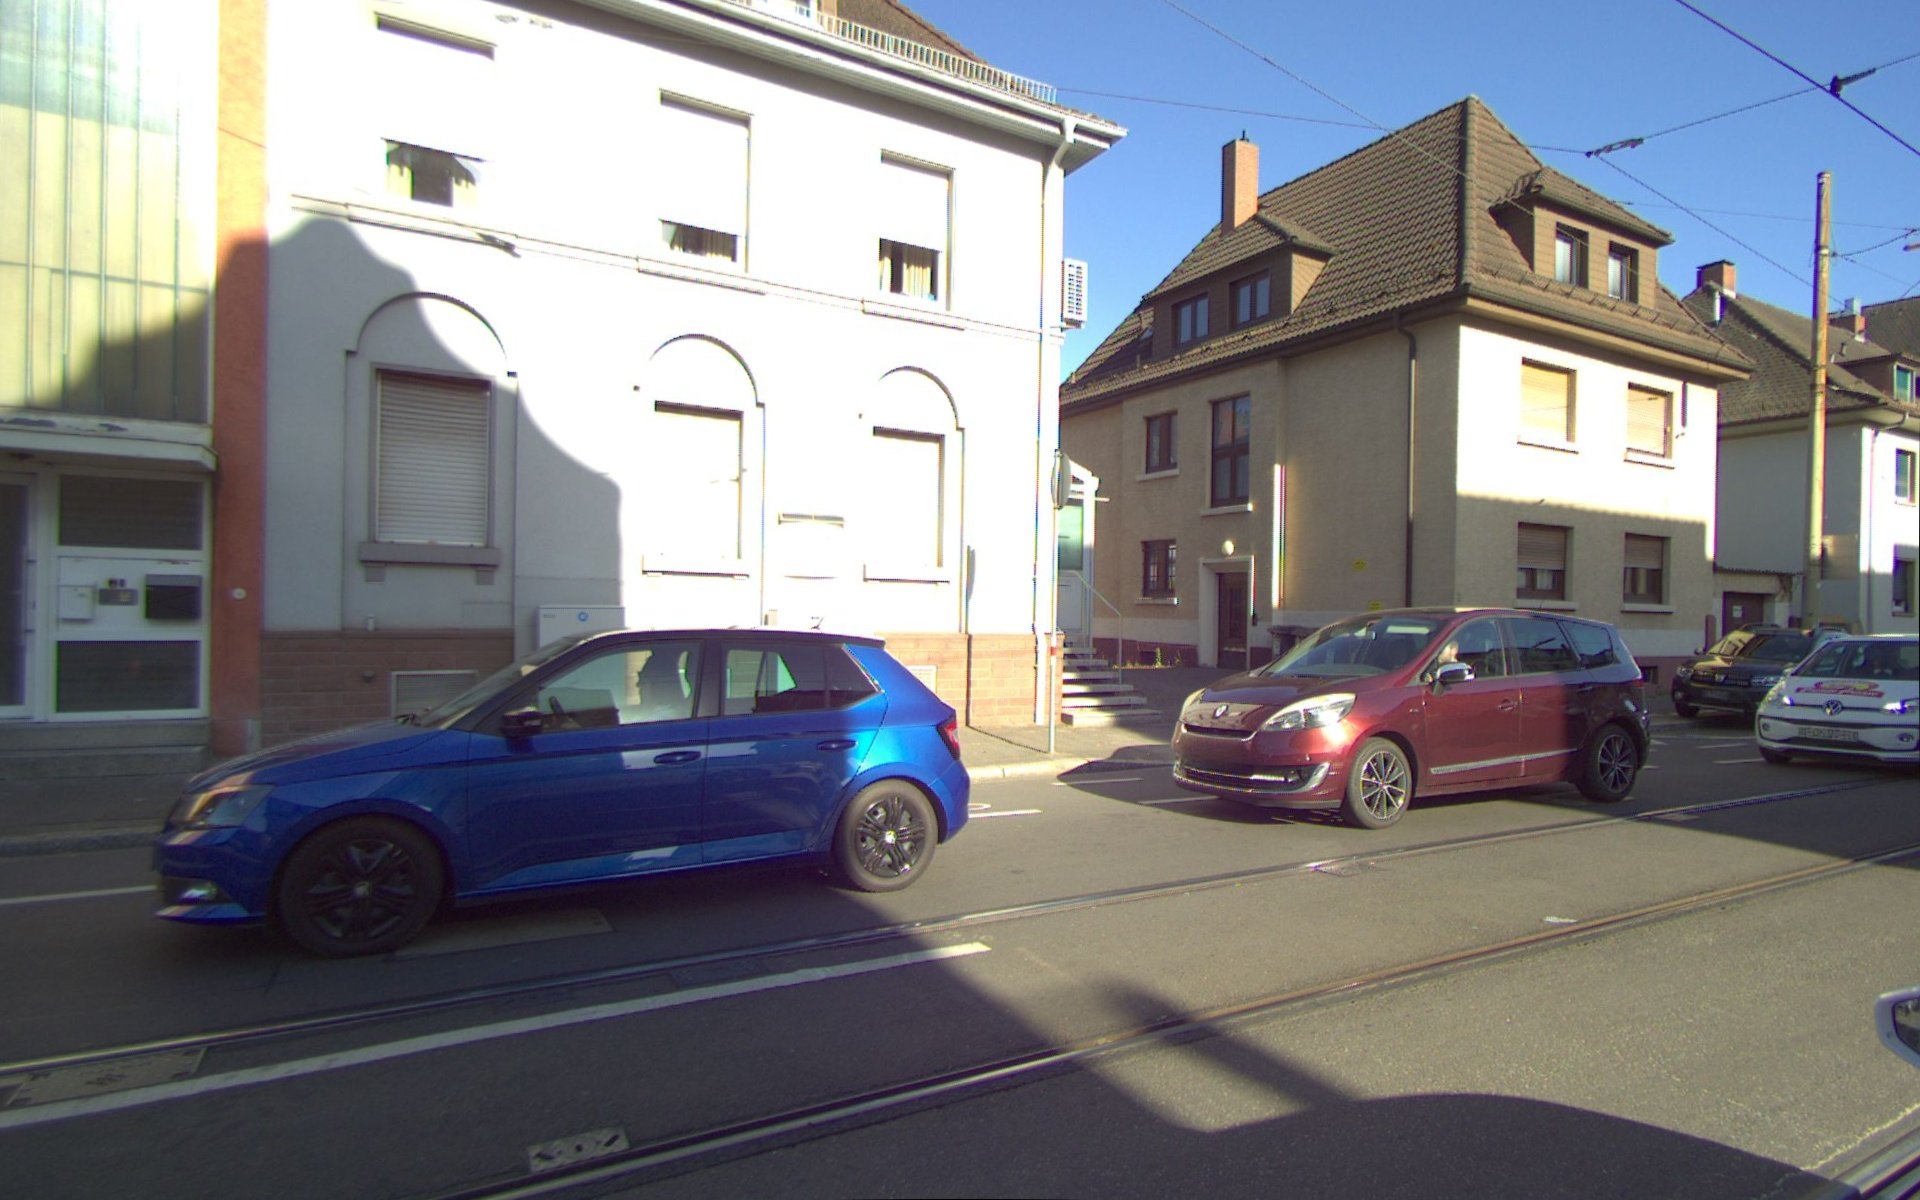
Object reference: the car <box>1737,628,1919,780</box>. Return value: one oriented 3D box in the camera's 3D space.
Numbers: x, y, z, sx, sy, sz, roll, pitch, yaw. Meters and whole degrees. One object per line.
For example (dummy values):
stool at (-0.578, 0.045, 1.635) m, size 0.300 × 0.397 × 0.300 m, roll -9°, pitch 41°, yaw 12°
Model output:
car at (10.595, 1.078, 11.345) m, size 3.568 × 1.480 × 1.576 m, roll 2°, pitch -2°, yaw -28°

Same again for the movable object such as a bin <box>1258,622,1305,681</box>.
movable object such as a bin at (6.443, 1.024, 20.132) m, size 0.583 × 1.126 × 0.612 m, roll 1°, pitch 3°, yaw -29°

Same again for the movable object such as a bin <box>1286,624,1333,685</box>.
movable object such as a bin at (6.789, 1.048, 19.538) m, size 0.583 × 1.126 × 0.566 m, roll 1°, pitch 3°, yaw -29°

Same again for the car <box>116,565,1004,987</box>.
car at (-1.844, 0.730, 5.461) m, size 3.879 × 1.588 × 1.677 m, roll 1°, pitch -3°, yaw -28°

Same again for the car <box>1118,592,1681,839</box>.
car at (3.760, 0.838, 8.458) m, size 4.651 × 1.632 × 1.733 m, roll 1°, pitch -2°, yaw -25°

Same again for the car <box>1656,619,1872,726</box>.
car at (13.742, 1.185, 17.133) m, size 3.875 × 1.649 × 1.608 m, roll 2°, pitch -2°, yaw -30°

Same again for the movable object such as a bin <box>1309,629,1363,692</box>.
movable object such as a bin at (7.103, 1.129, 18.975) m, size 0.664 × 1.126 × 0.639 m, roll 1°, pitch 3°, yaw -29°
